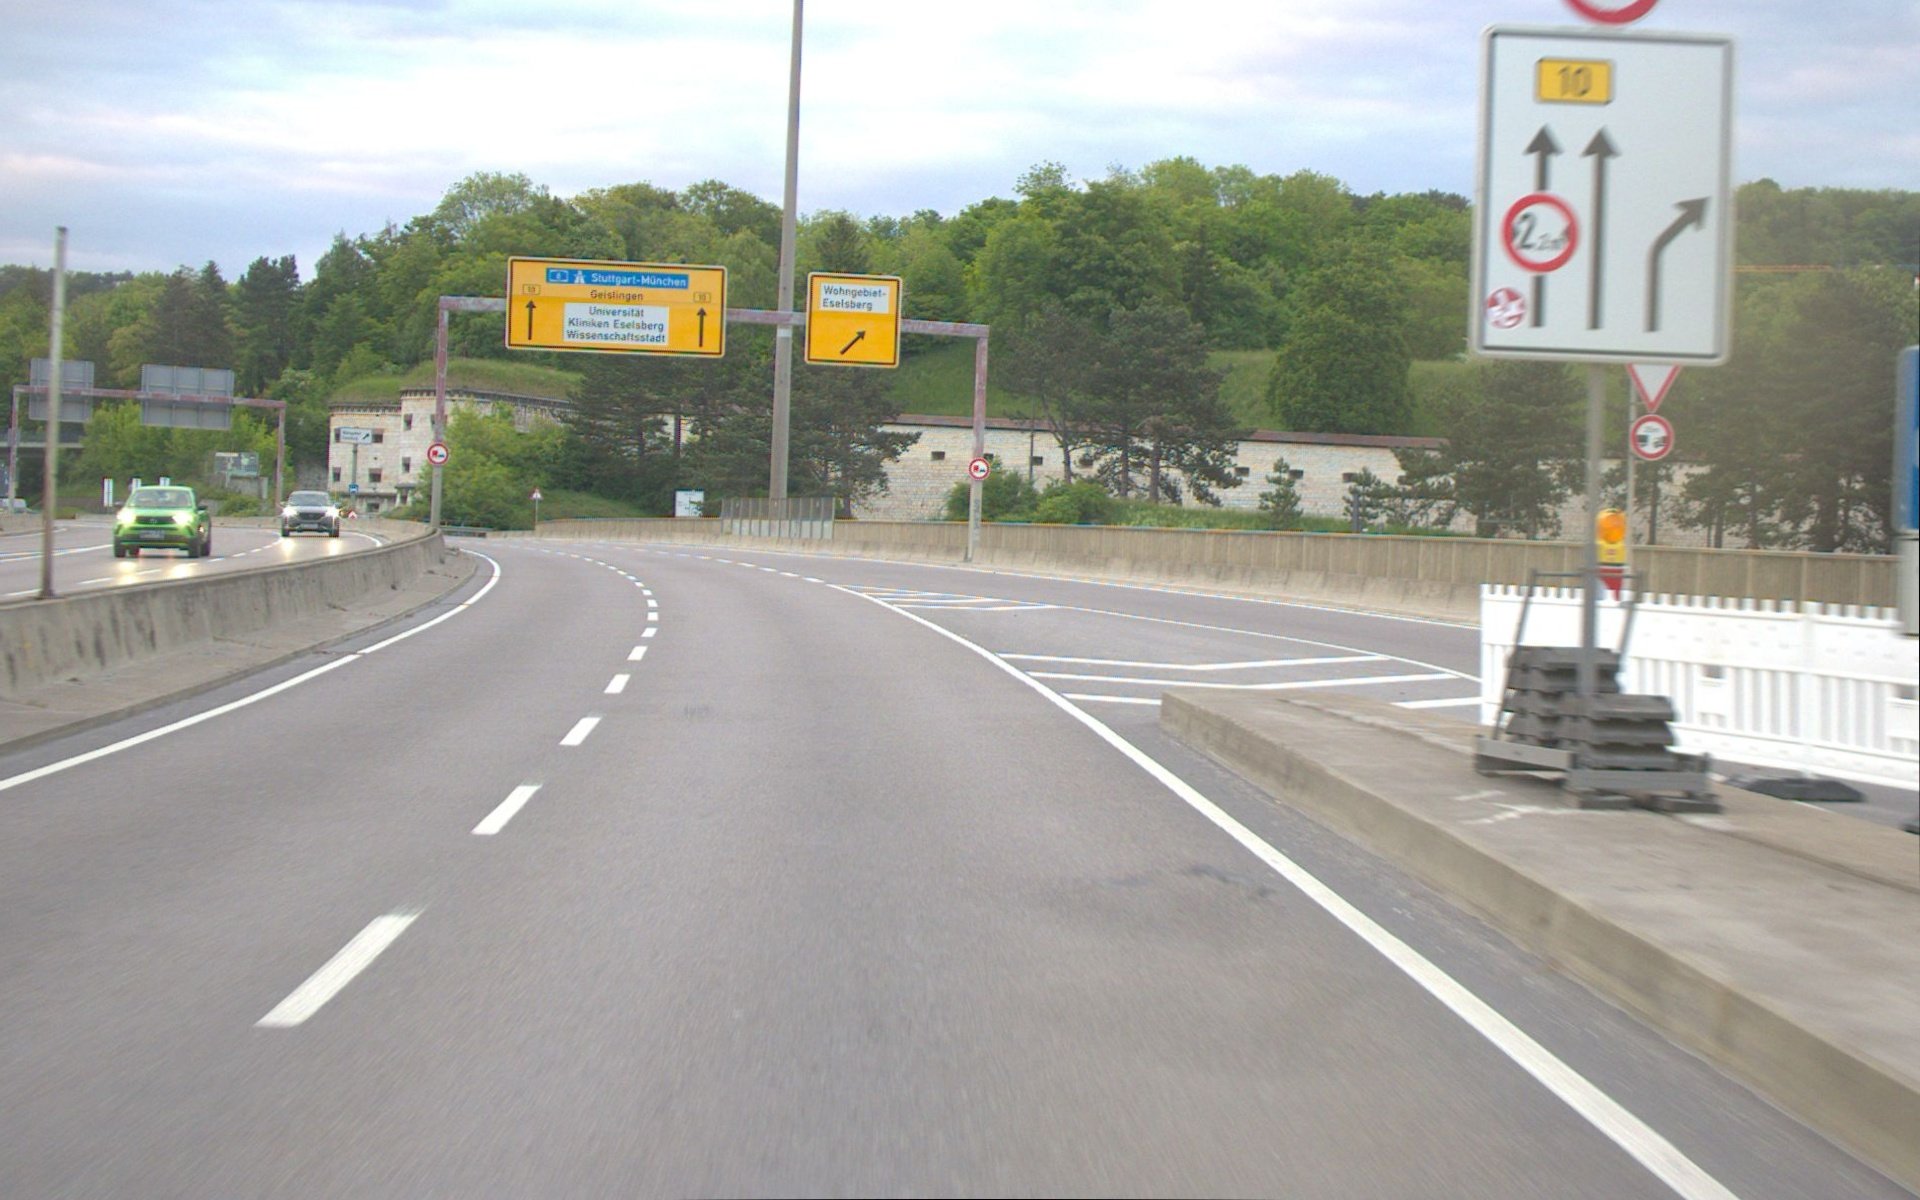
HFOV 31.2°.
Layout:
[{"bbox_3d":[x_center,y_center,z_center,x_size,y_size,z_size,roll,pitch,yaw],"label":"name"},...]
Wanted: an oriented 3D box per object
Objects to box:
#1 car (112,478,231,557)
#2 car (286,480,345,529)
[{"bbox_3d":[-16.942,-1.759,74.041,1.710,1.489,4.081,4,0,-3],"label":"car"},{"bbox_3d":[-21.214,-3.143,113.167,1.810,1.529,4.548,2,1,-11],"label":"car"}]
